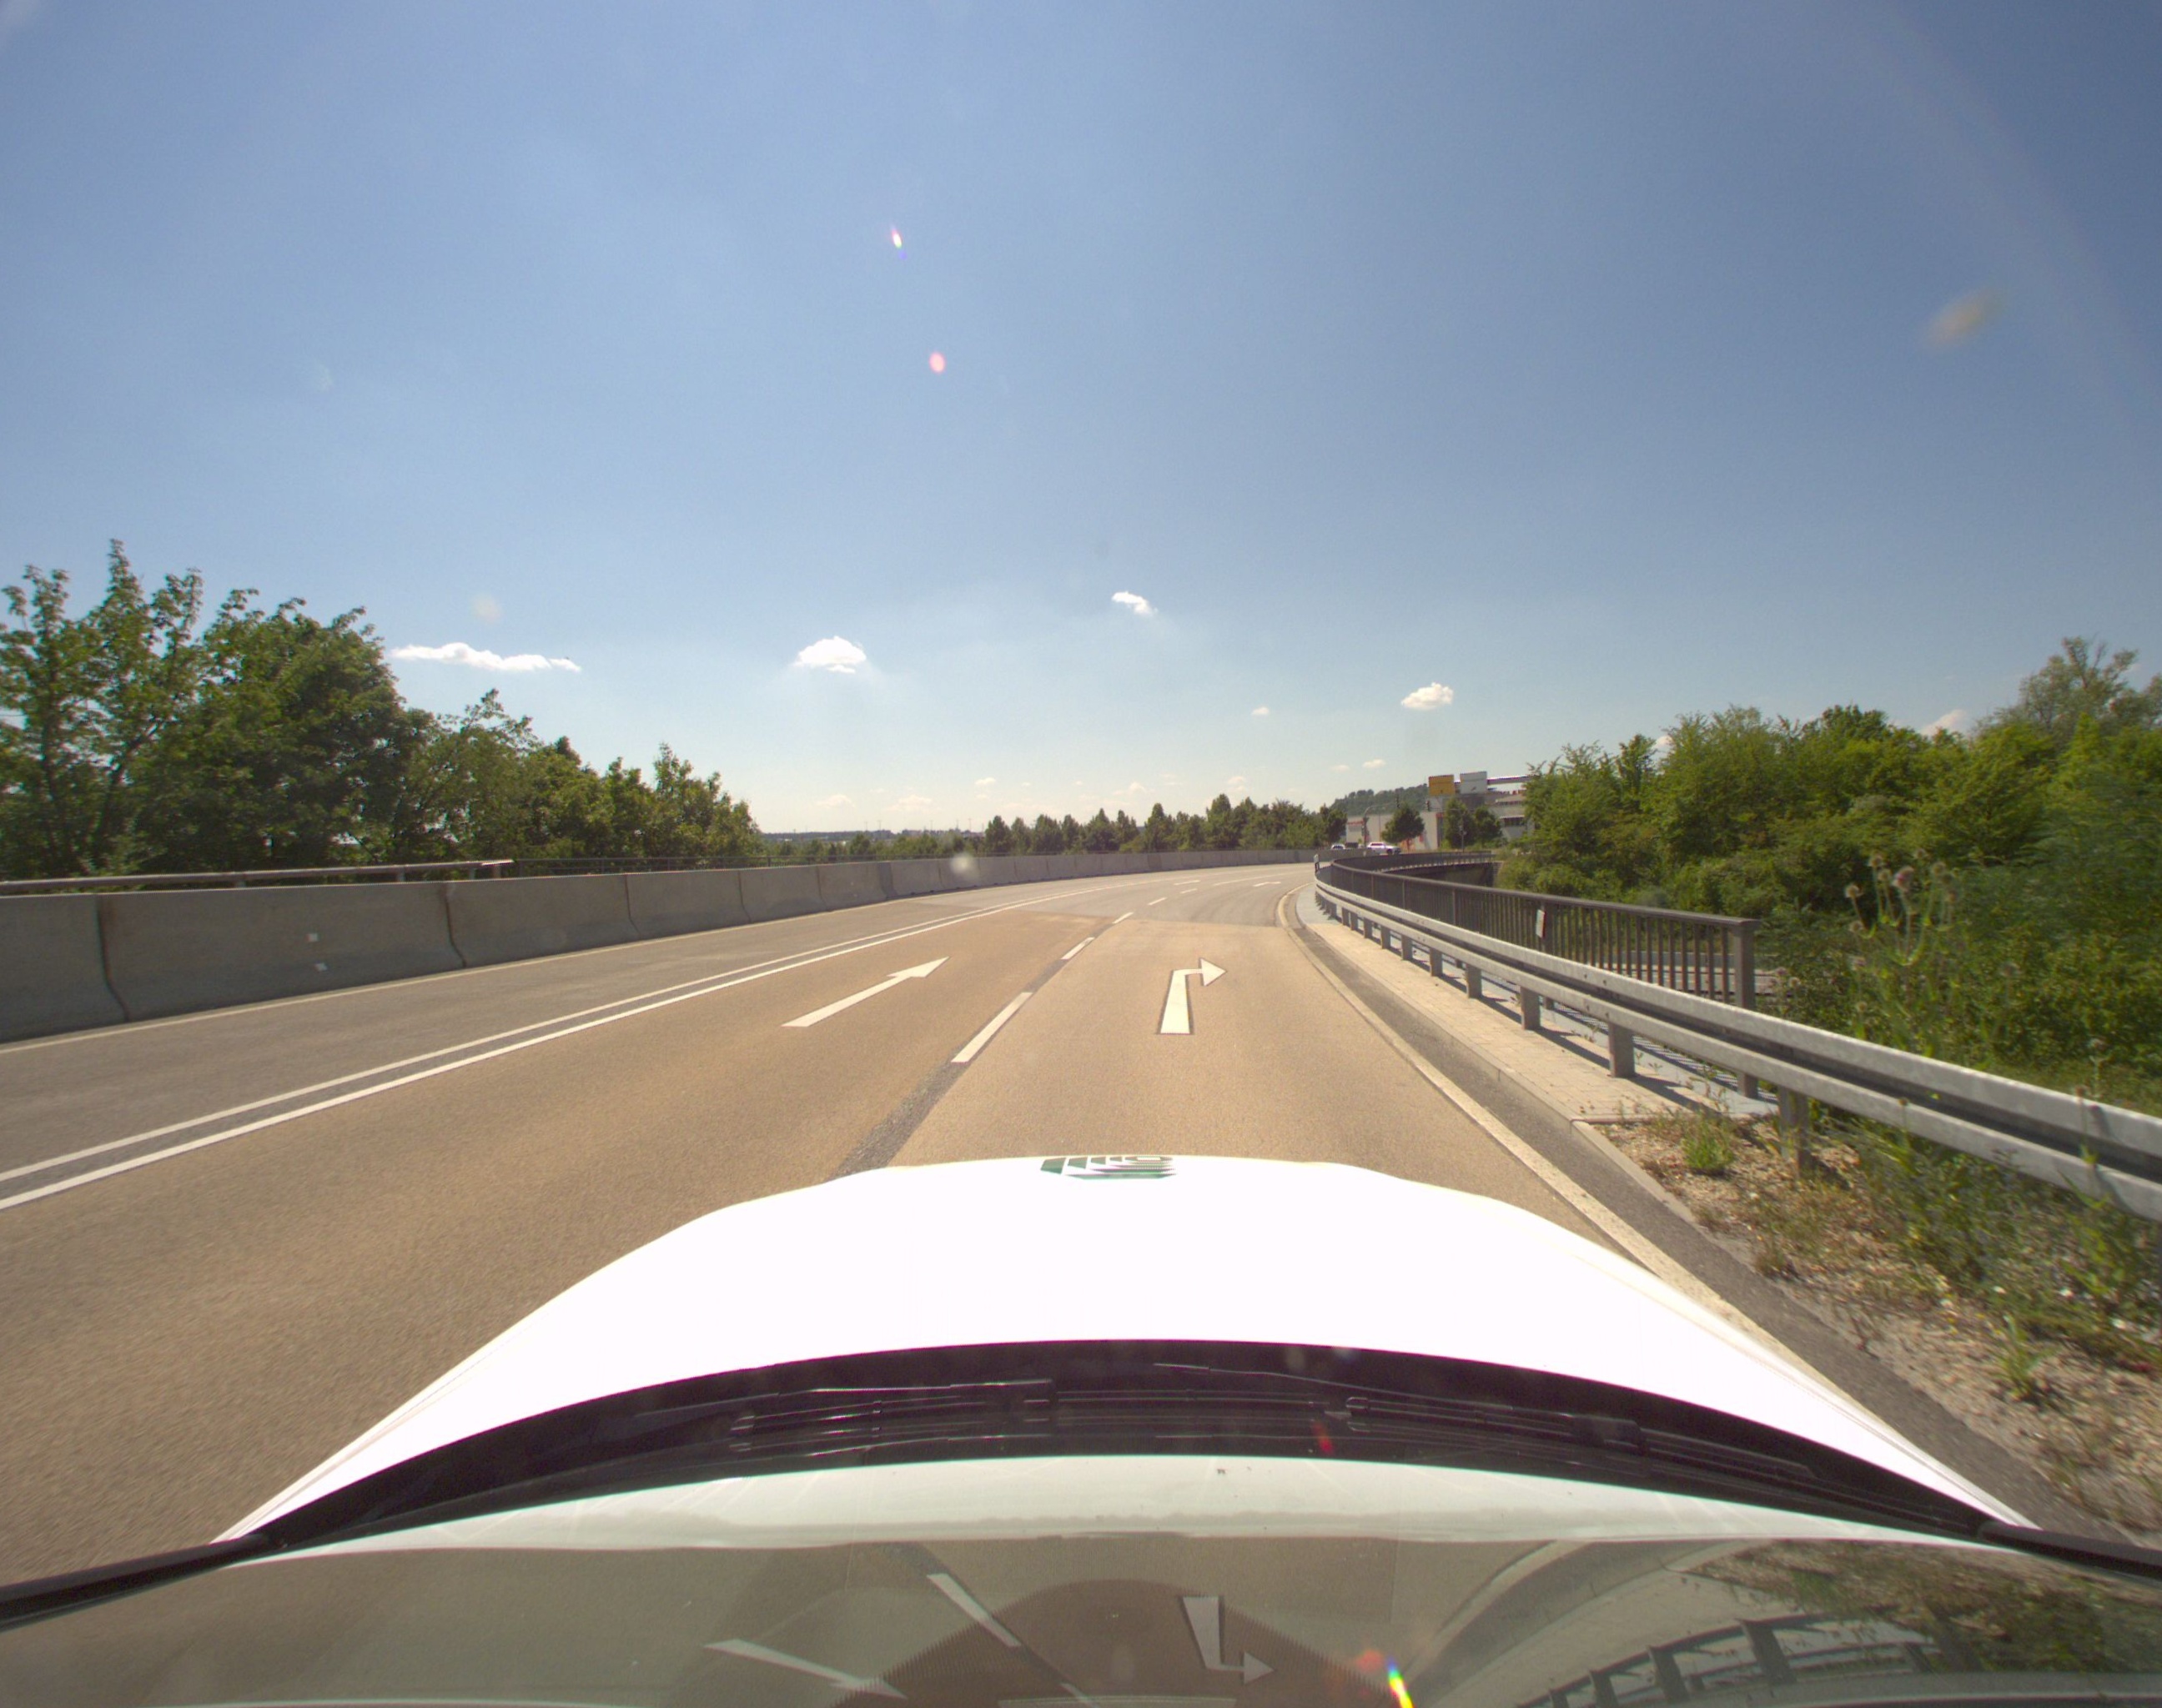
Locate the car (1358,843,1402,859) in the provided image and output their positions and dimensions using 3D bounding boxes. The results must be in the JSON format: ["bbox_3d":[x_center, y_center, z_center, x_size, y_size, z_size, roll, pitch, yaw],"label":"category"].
[{"bbox_3d":[38.010,-0.398,103.695,4.803,1.965,2.114,0,0,44],"label":"car"}]
